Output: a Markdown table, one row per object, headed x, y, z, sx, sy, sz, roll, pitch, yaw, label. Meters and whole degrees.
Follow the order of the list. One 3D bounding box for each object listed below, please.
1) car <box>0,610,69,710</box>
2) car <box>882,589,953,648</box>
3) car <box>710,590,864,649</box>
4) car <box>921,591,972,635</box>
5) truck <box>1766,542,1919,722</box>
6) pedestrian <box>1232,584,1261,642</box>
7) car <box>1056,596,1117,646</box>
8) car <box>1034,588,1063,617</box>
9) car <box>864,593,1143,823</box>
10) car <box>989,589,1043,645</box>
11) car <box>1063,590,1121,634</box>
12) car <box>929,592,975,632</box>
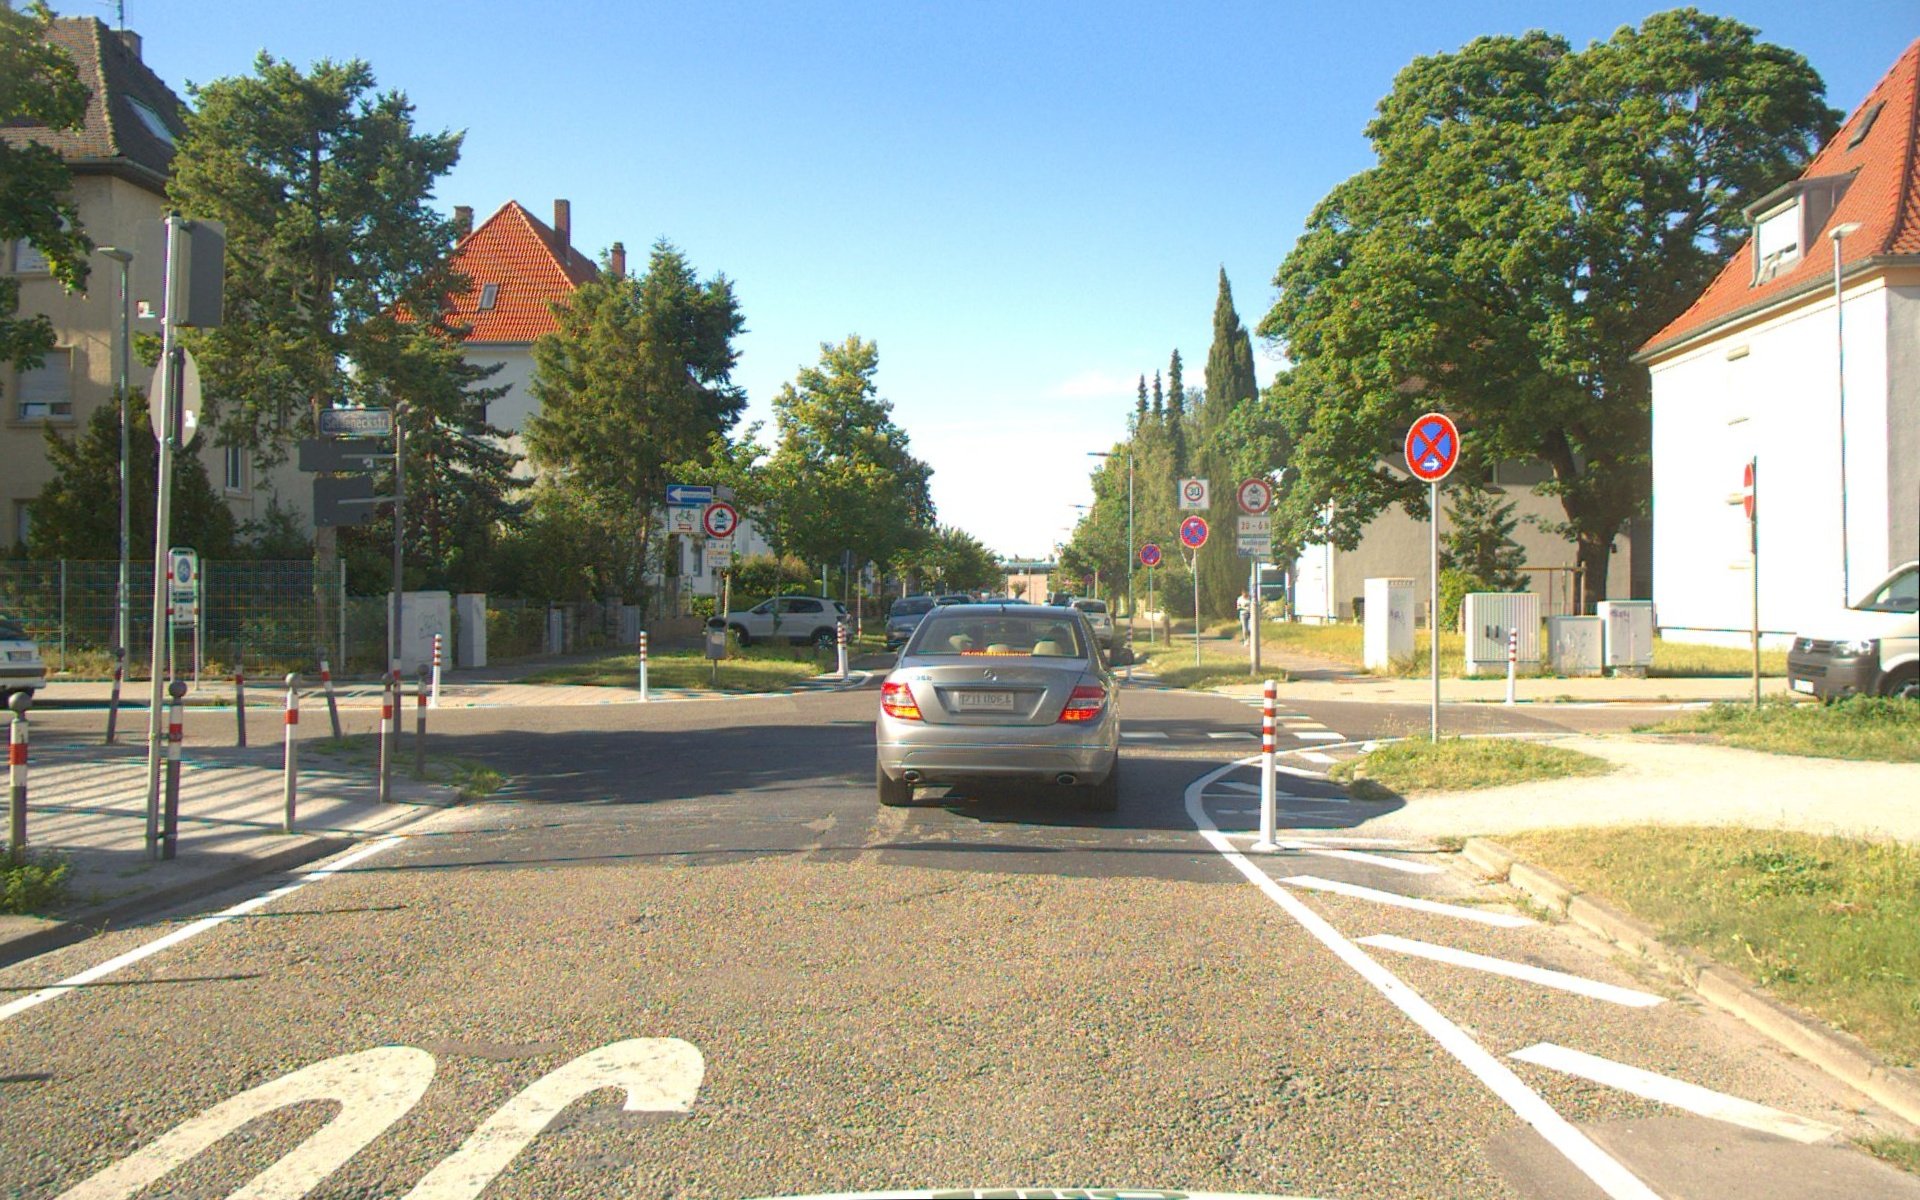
| x | y | z | sx | sy | sz | roll | pitch | yaw | label |
| --- | --- | --- | --- | --- | --- | --- | --- | --- | --- |
| -15.436 | 0.885 | 24.377 | 3.686 | 1.423 | 1.707 | -1 | -1 | 2 | car |
| -1.270 | 0.537 | 51.326 | 1.953 | 1.637 | 4.000 | -4 | 0 | 0 | car |
| -4.797 | 0.546 | 46.316 | 4.106 | 1.591 | 1.842 | 0 | 0 | -1 | car |
| -0.521 | 0.521 | 69.127 | 1.953 | 1.637 | 4.000 | -4 | 0 | 0 | car |
| 12.622 | 0.340 | 20.007 | 4.757 | 2.071 | 2.001 | -1 | 0 | 2 | truck |
| 8.218 | 0.375 | 47.474 | 0.750 | 1.639 | 0.835 | -1 | 0 | 7 | pedestrian |
| 4.054 | 0.649 | 53.434 | 1.697 | 1.505 | 3.725 | -1 | 0 | 0 | car |
| 5.799 | 0.133 | 109.247 | 1.816 | 1.873 | 4.001 | -1 | 0 | 2 | car |
| 0.402 | 0.694 | 12.709 | 1.797 | 1.466 | 4.002 | 0 | 0 | 4 | car |
| 1.680 | 0.494 | 50.659 | 1.564 | 1.638 | 3.644 | -1 | 0 | 0 | car |
| 5.081 | 0.458 | 64.223 | 1.952 | 1.638 | 4.000 | -1 | 0 | 0 | car |
| -0.330 | 0.509 | 74.920 | 1.953 | 1.637 | 4.000 | -4 | 0 | 0 | car |
